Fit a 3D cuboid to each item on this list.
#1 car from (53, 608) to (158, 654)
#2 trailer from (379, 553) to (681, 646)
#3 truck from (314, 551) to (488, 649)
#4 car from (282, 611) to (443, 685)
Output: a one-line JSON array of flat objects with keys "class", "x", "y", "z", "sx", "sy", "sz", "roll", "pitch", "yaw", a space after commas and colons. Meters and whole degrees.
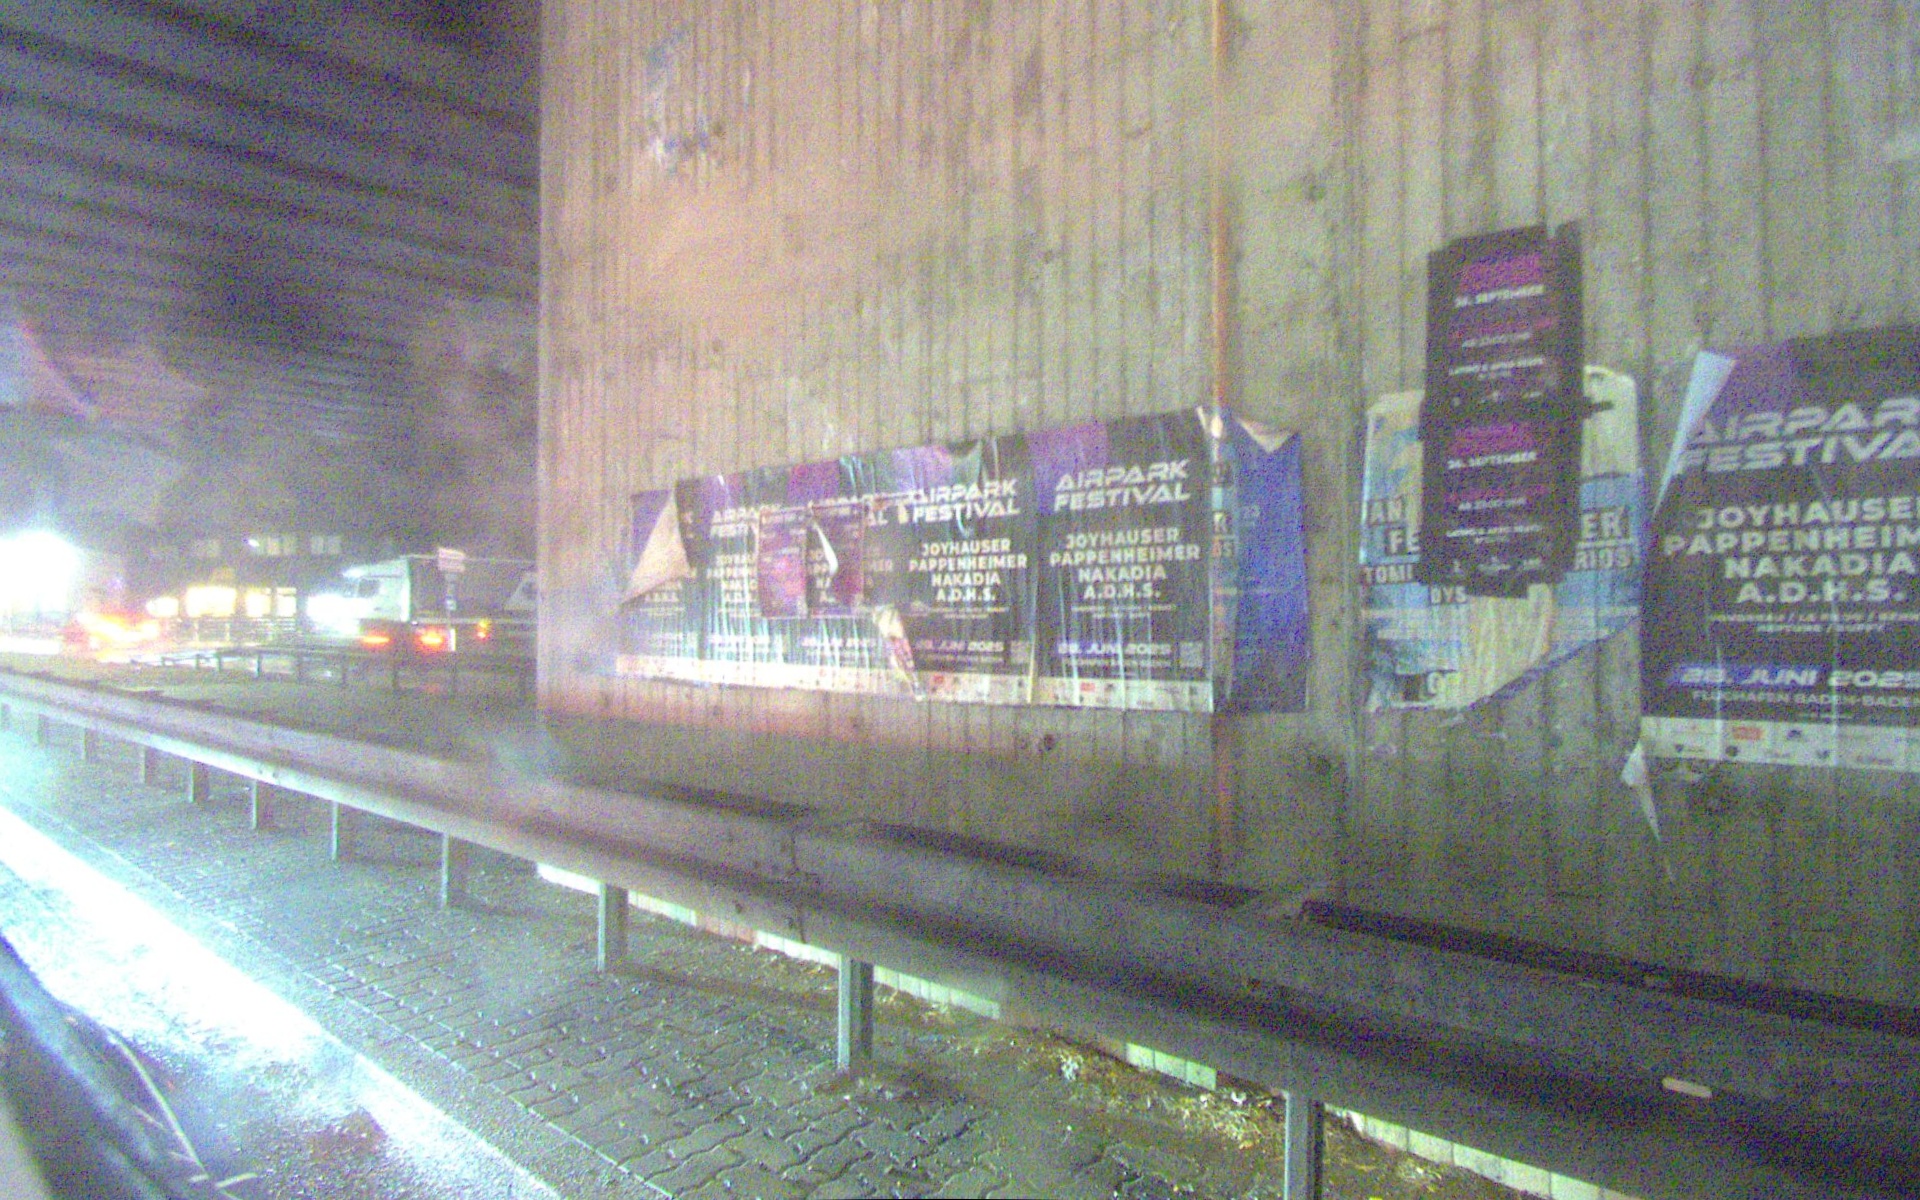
[{"class": "car", "x": -32.373, "y": 1.156, "z": 38.335, "sx": 4.128, "sy": 1.617, "sz": 1.805, "roll": -1, "pitch": 0, "yaw": 31}, {"class": "trailer", "x": -21.530, "y": -0.085, "z": 51.799, "sx": 13.713, "sy": 4.208, "sz": 3.973, "roll": -1, "pitch": 0, "yaw": -44}, {"class": "truck", "x": -26.071, "y": -0.023, "z": 47.306, "sx": 6.282, "sy": 4.208, "sz": 3.973, "roll": -1, "pitch": 0, "yaw": -44}, {"class": "car", "x": -14.507, "y": 1.101, "z": 24.515, "sx": 3.993, "sy": 1.617, "sz": 1.975, "roll": -1, "pitch": 0, "yaw": 37}]
